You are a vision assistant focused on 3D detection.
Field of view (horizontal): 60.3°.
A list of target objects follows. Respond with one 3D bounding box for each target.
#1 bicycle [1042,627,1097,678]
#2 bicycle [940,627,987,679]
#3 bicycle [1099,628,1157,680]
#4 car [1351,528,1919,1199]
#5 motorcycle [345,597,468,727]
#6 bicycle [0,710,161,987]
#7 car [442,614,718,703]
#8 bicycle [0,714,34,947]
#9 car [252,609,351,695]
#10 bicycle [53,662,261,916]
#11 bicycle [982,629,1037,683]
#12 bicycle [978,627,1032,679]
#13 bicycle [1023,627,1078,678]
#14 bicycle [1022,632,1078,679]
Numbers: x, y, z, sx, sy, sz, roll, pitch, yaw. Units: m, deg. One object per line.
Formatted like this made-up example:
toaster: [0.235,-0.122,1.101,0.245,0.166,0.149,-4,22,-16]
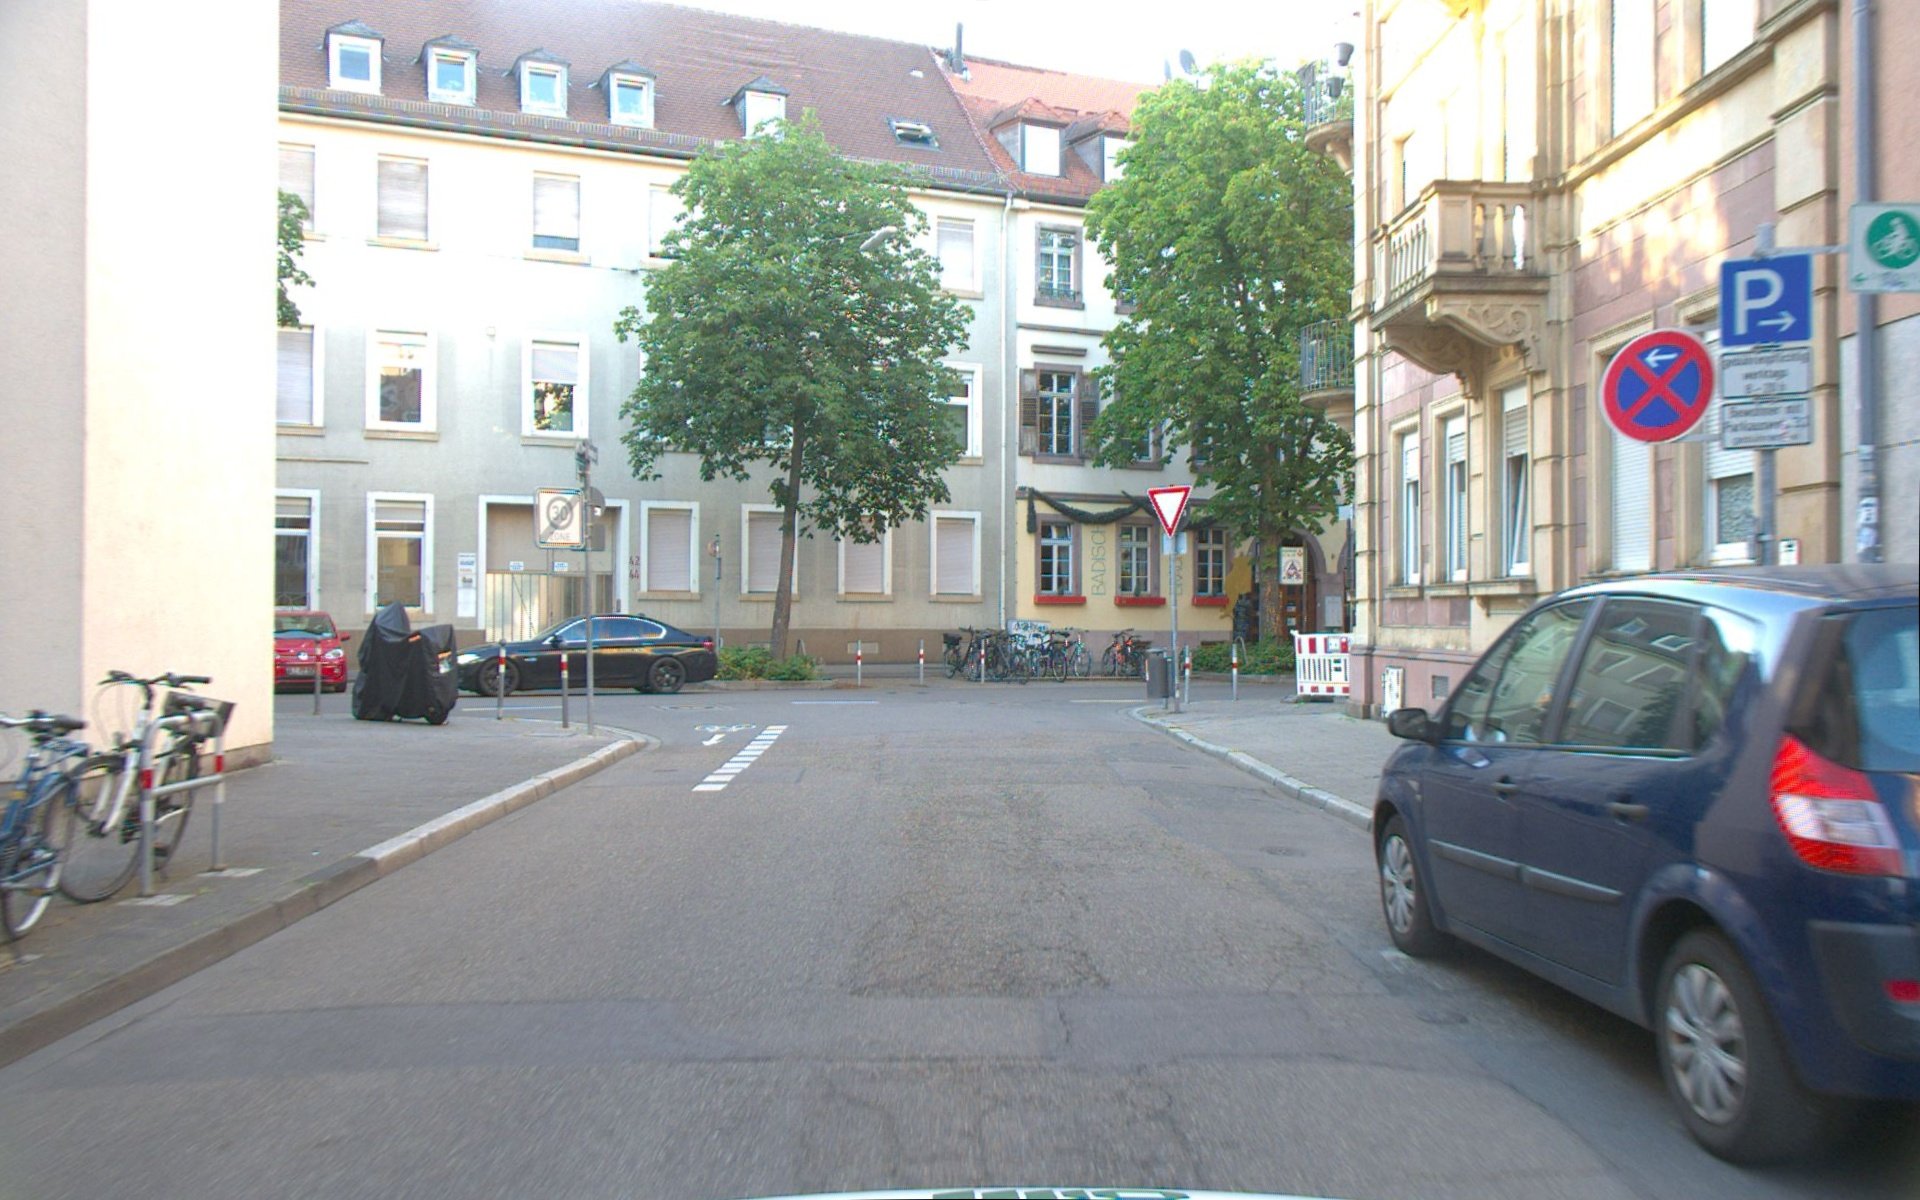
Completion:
bicycle: [2.596,1.239,39.331,0.414,1.166,2.027,0,-1,-24]
bicycle: [0.070,1.201,38.045,0.438,1.166,2.030,0,-1,-20]
bicycle: [3.927,1.250,38.855,0.414,1.166,2.027,0,-1,-24]
car: [2.812,0.680,5.888,1.656,1.653,4.051,0,-1,-4]
motorcycle: [-7.110,0.768,21.185,0.664,1.583,2.127,1,-1,-43]
bicycle: [-3.779,0.976,6.728,0.301,0.948,1.811,1,-1,-5]
car: [-6.792,1.004,29.596,4.592,1.476,1.754,0,-1,-25]
bicycle: [-4.125,0.958,6.185,0.300,0.948,1.813,1,-1,0]
car: [-12.516,0.940,31.337,1.541,1.501,3.638,0,0,-25]
bicycle: [-4.121,0.913,8.608,0.392,1.121,1.810,1,-1,-7]
bicycle: [1.079,1.235,36.814,0.439,1.166,2.028,0,-1,-22]
bicycle: [1.035,1.206,38.411,0.414,1.166,2.027,0,-1,-24]
bicycle: [2.110,1.219,38.921,0.414,1.166,2.027,0,-1,-24]
bicycle: [2.035,1.256,37.689,0.414,1.021,2.027,0,-1,-24]
